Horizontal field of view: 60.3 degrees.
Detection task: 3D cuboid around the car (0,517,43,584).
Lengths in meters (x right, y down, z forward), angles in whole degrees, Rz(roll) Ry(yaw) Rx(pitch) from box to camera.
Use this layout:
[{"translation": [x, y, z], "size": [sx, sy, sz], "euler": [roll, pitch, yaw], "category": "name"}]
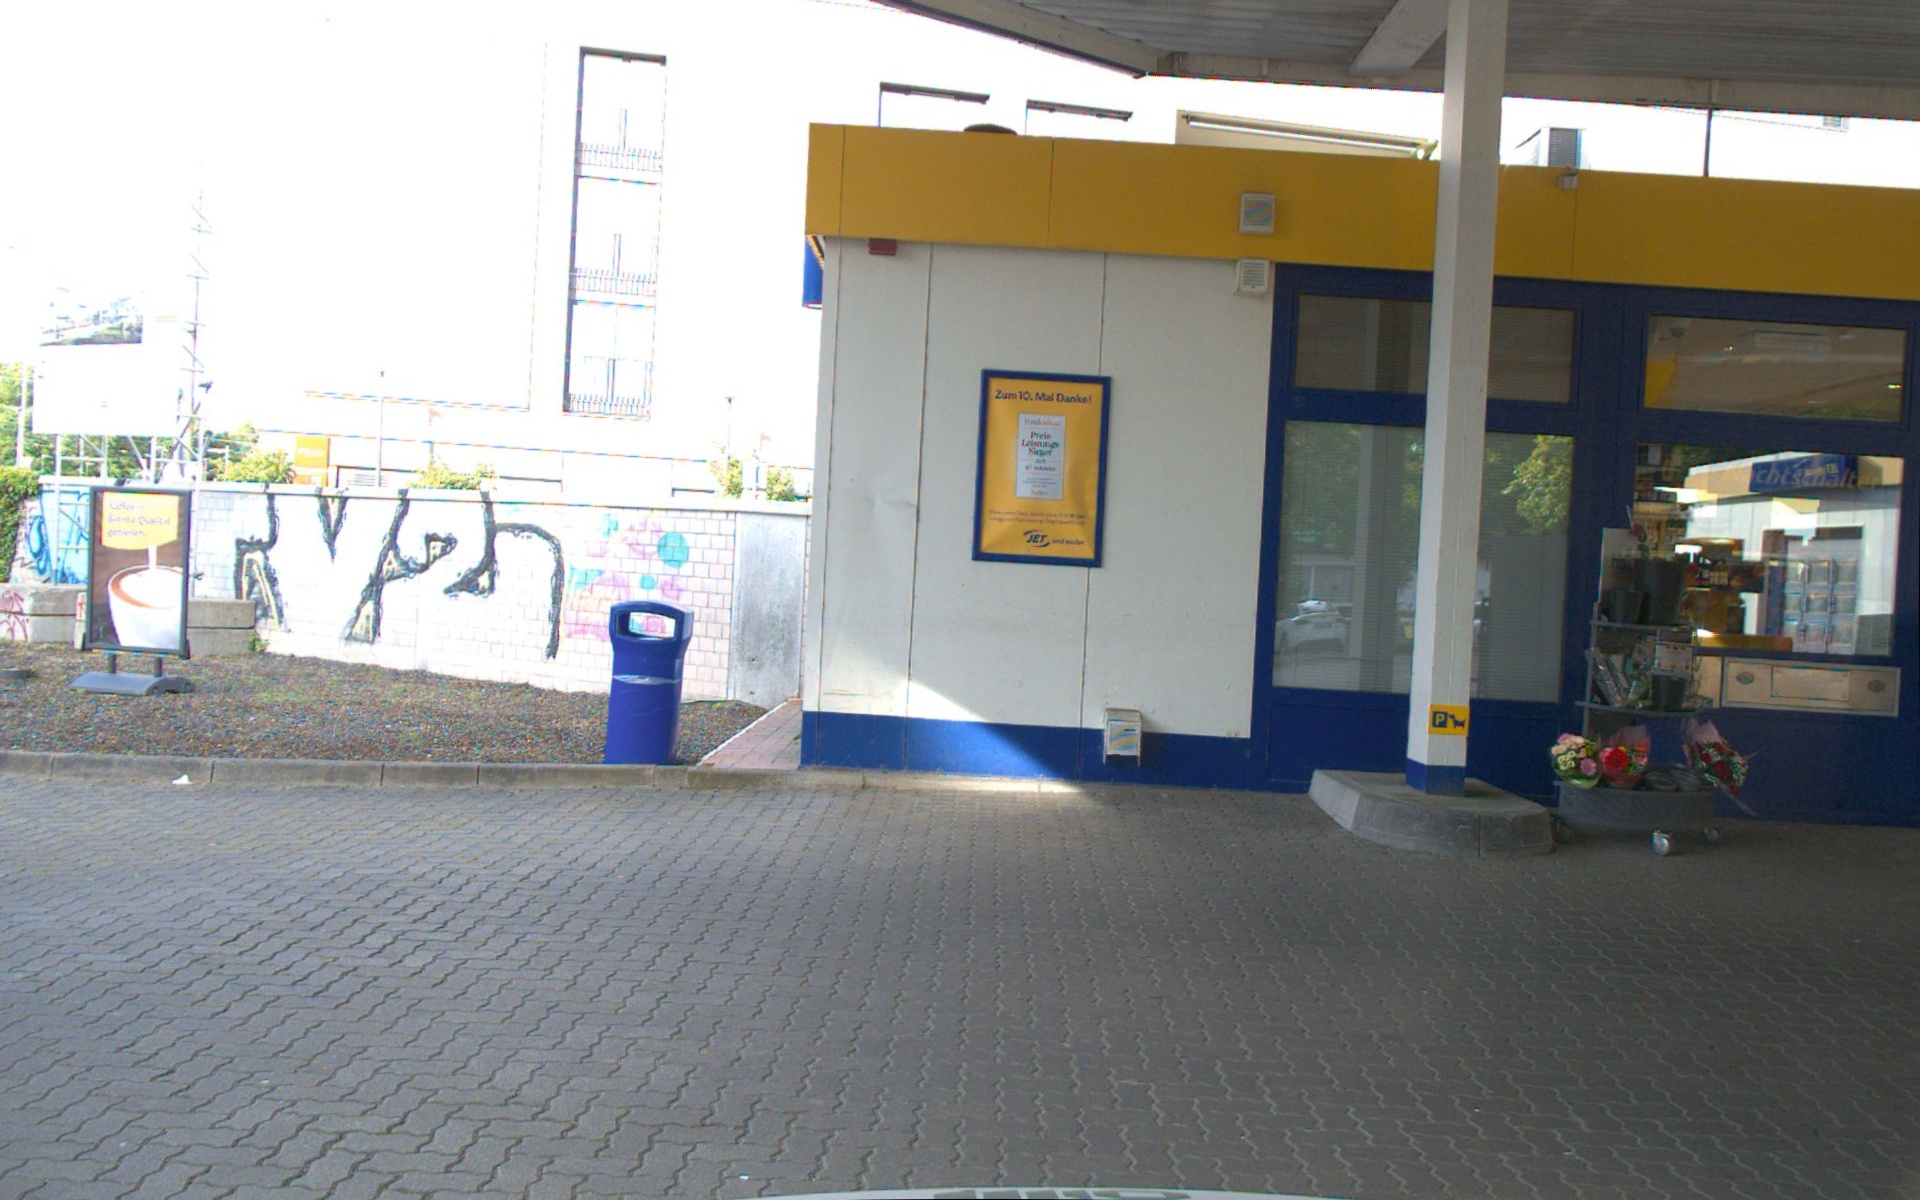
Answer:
[{"translation": [-24.325, -1.288, 41.207], "size": [1.698, 1.569, 3.982], "euler": [4, 1, -17], "category": "car"}]
